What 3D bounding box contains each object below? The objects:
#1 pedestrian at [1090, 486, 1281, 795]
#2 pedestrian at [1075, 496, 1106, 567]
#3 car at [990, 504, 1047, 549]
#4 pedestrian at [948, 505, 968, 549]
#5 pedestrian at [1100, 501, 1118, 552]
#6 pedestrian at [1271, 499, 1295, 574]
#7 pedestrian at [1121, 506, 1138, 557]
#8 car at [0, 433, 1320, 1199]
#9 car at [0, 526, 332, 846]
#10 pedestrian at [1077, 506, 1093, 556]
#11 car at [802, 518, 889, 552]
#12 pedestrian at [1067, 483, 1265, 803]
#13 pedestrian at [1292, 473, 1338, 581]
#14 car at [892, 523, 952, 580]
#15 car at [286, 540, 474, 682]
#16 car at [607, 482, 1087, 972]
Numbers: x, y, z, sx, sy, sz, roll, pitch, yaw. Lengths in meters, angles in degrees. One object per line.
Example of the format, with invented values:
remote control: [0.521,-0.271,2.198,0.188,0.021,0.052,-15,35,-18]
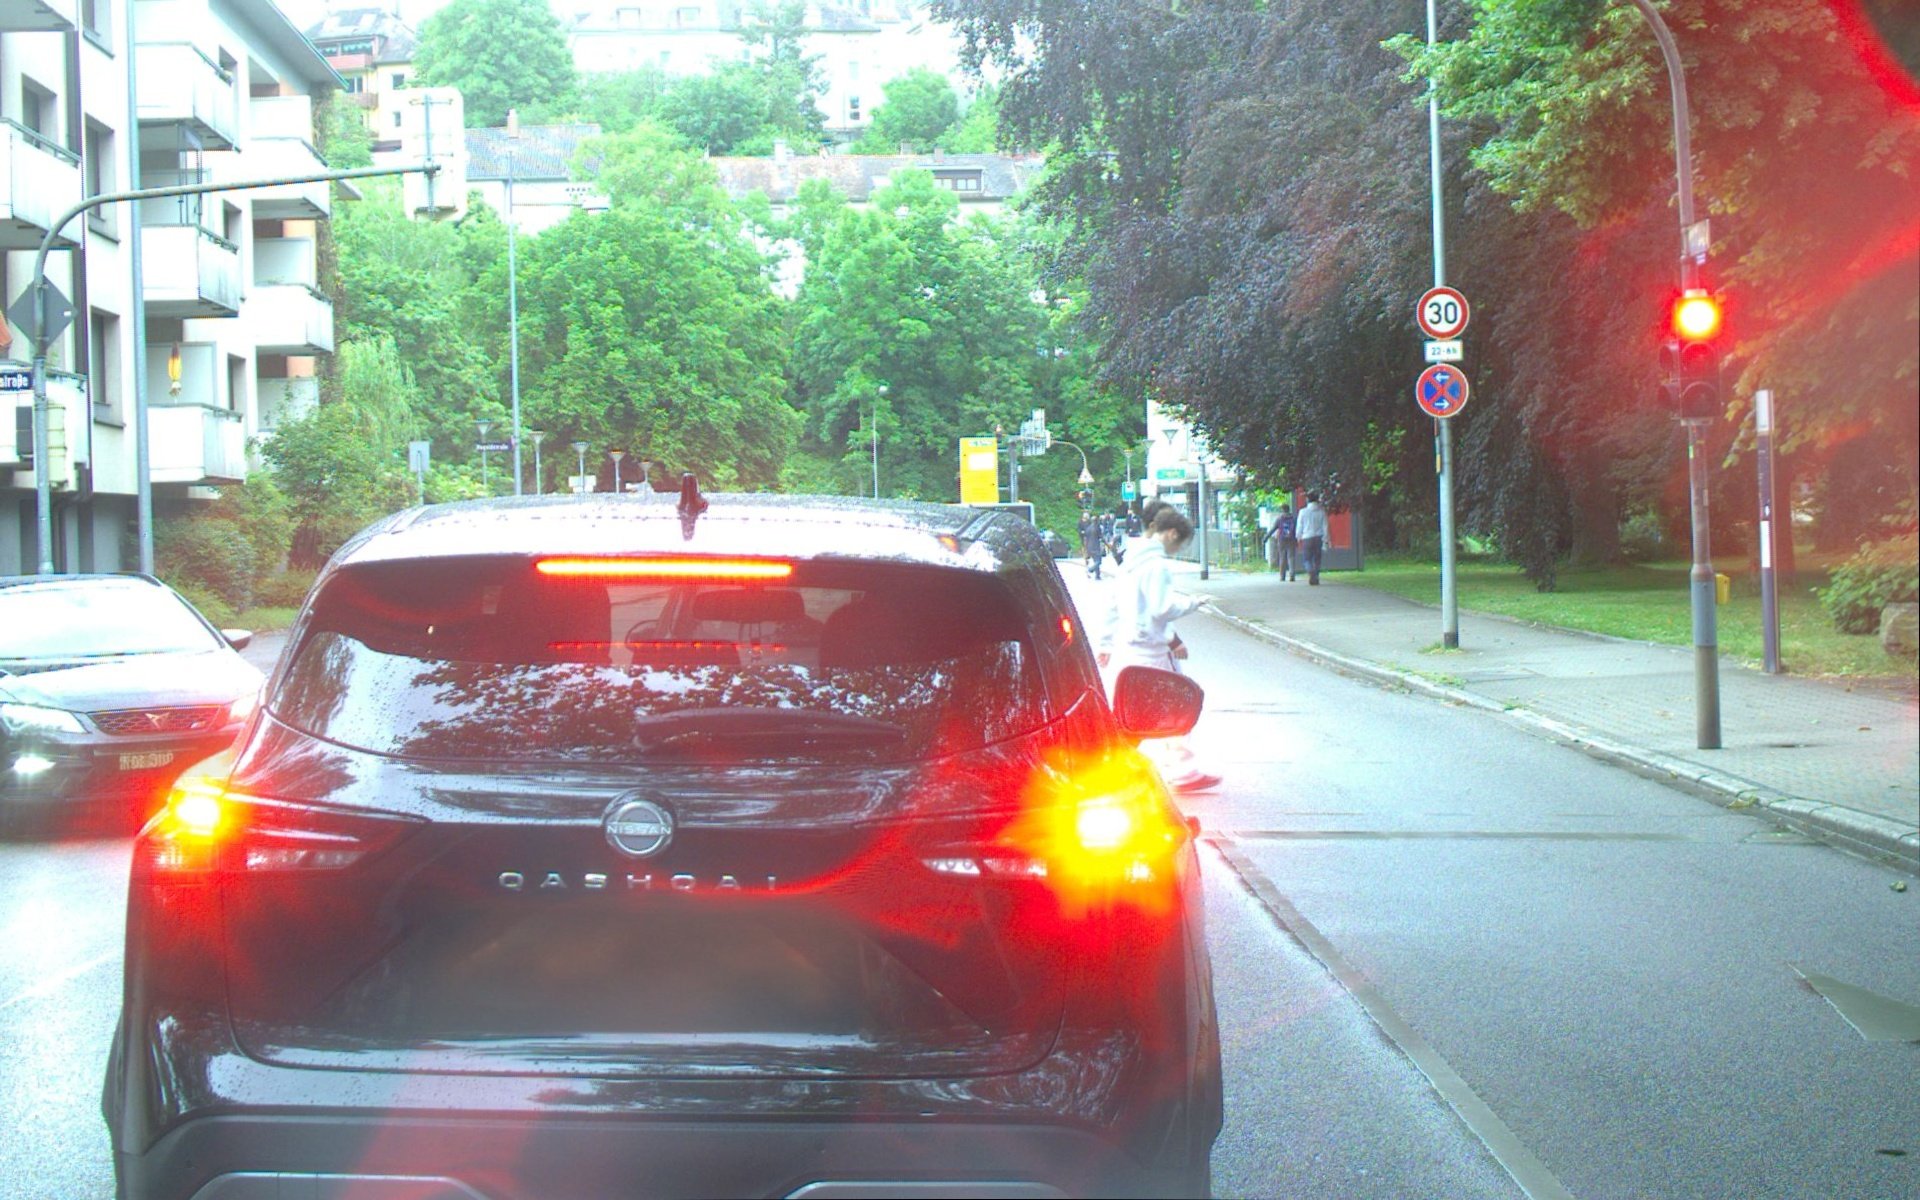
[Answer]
pedestrian: [1.388,0.237,21.227,1.035,1.869,0.658,0,1,-11]
pedestrian: [3.342,-1.754,88.067,0.508,1.796,0.620,-3,1,-22]
car: [2.335,-2.901,136.373,1.994,1.729,3.999,1,1,4]
pedestrian: [-0.079,-2.869,135.139,0.509,1.667,0.658,-1,1,27]
pedestrian: [5.333,-2.634,123.360,0.508,1.796,0.659,-2,1,-3]
pedestrian: [6.535,-1.293,69.604,0.390,1.497,0.559,-2,1,0]
pedestrian: [6.078,-2.465,123.393,0.508,1.796,0.619,-2,1,-2]
car: [-0.454,0.555,6.997,1.913,1.674,4.000,0,1,0]
car: [-5.268,0.442,20.271,1.845,1.620,4.138,-3,1,-28]
pedestrian: [4.508,-2.496,124.022,0.508,1.796,0.619,-2,1,-1]
car: [-5.656,-3.210,170.412,3.954,1.527,1.640,-3,1,-30]
pedestrian: [1.220,0.243,20.476,1.035,1.869,0.658,0,1,-11]
pedestrian: [6.718,-1.388,65.060,0.725,2.007,0.851,-2,1,0]
car: [-1.079,-1.409,98.649,1.634,1.527,3.968,-2,1,-1]
car: [-6.859,0.090,40.985,1.795,1.528,3.868,-2,1,-4]
car: [-0.434,0.428,14.453,1.698,1.739,3.641,-2,1,-1]
